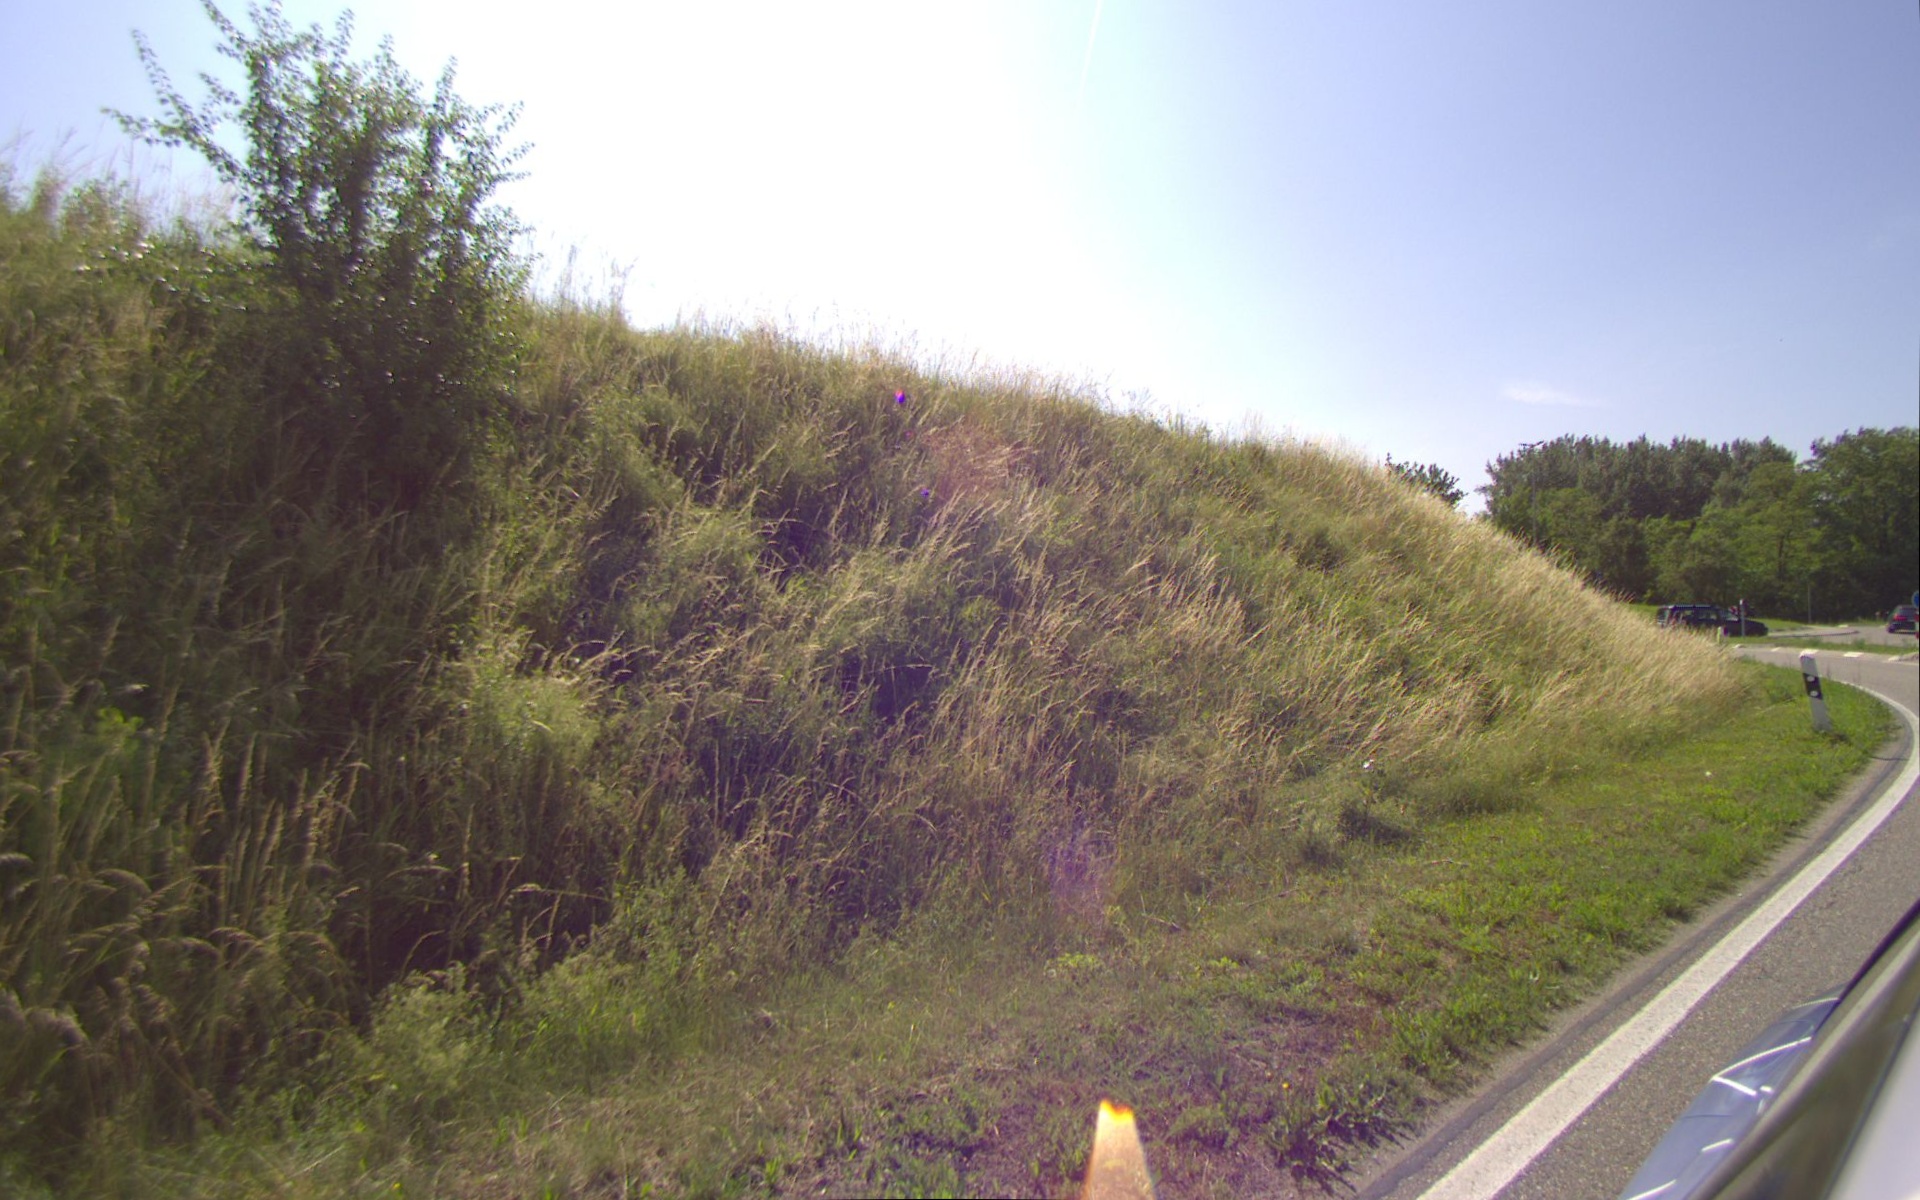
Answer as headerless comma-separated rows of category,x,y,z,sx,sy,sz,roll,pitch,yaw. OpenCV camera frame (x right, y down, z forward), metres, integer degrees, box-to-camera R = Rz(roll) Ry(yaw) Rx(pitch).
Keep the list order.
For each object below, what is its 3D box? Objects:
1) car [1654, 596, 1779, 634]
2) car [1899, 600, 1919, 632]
car,35.376,0.688,47.449,4.287,1.677,1.700,-1,-1,14
car,50.453,0.820,52.845,4.602,1.508,1.810,-2,1,-44
